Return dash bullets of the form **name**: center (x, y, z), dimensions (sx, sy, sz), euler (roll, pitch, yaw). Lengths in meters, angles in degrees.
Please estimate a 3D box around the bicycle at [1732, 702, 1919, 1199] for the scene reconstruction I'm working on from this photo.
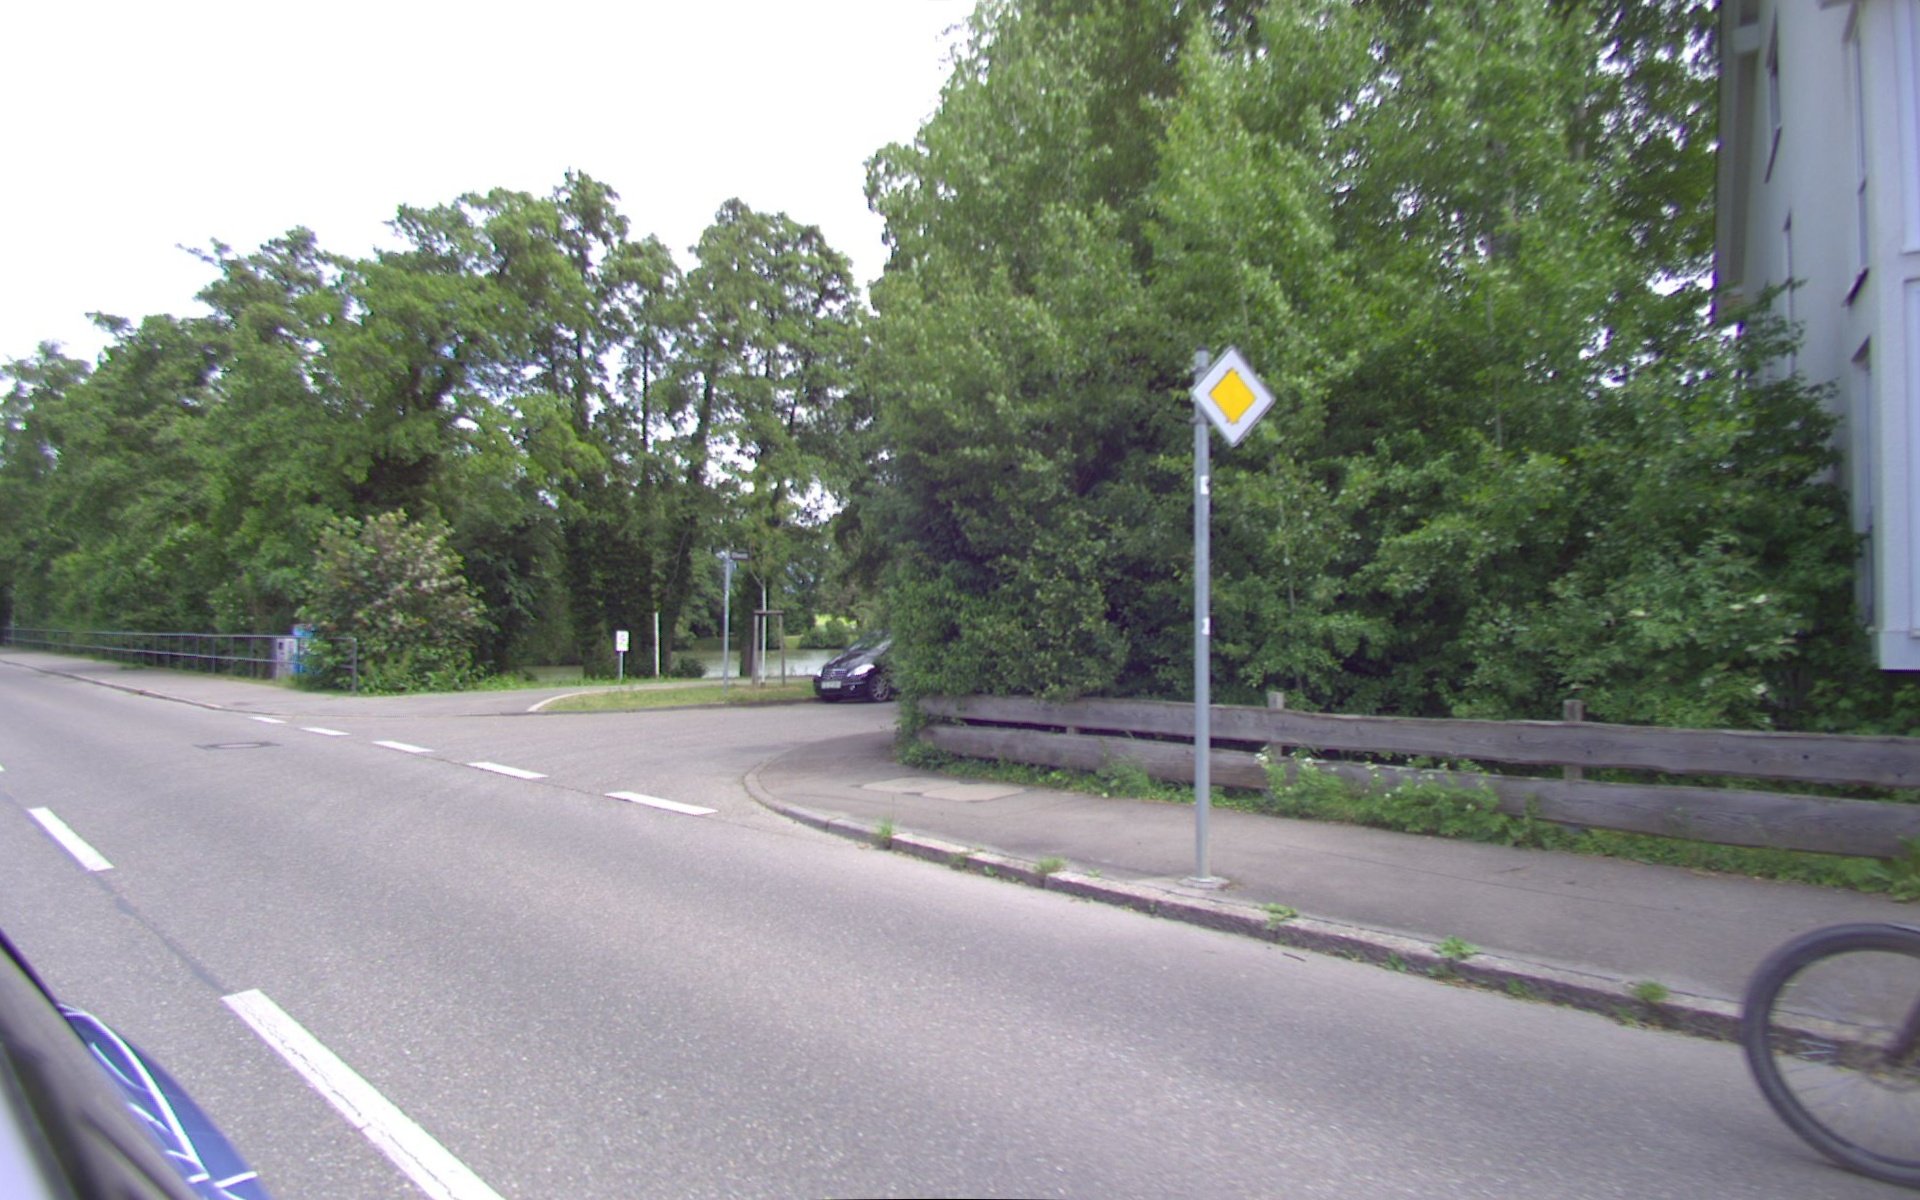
- **bicycle**: center (3.165, 0.899, 2.194), dimensions (2.307, 1.236, 0.747), euler (-2, -4, 41)

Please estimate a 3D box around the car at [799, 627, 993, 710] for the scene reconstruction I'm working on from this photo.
- **car**: center (-1.338, 1.430, 22.167), dimensions (1.968, 1.634, 3.942), euler (-3, -3, 44)
